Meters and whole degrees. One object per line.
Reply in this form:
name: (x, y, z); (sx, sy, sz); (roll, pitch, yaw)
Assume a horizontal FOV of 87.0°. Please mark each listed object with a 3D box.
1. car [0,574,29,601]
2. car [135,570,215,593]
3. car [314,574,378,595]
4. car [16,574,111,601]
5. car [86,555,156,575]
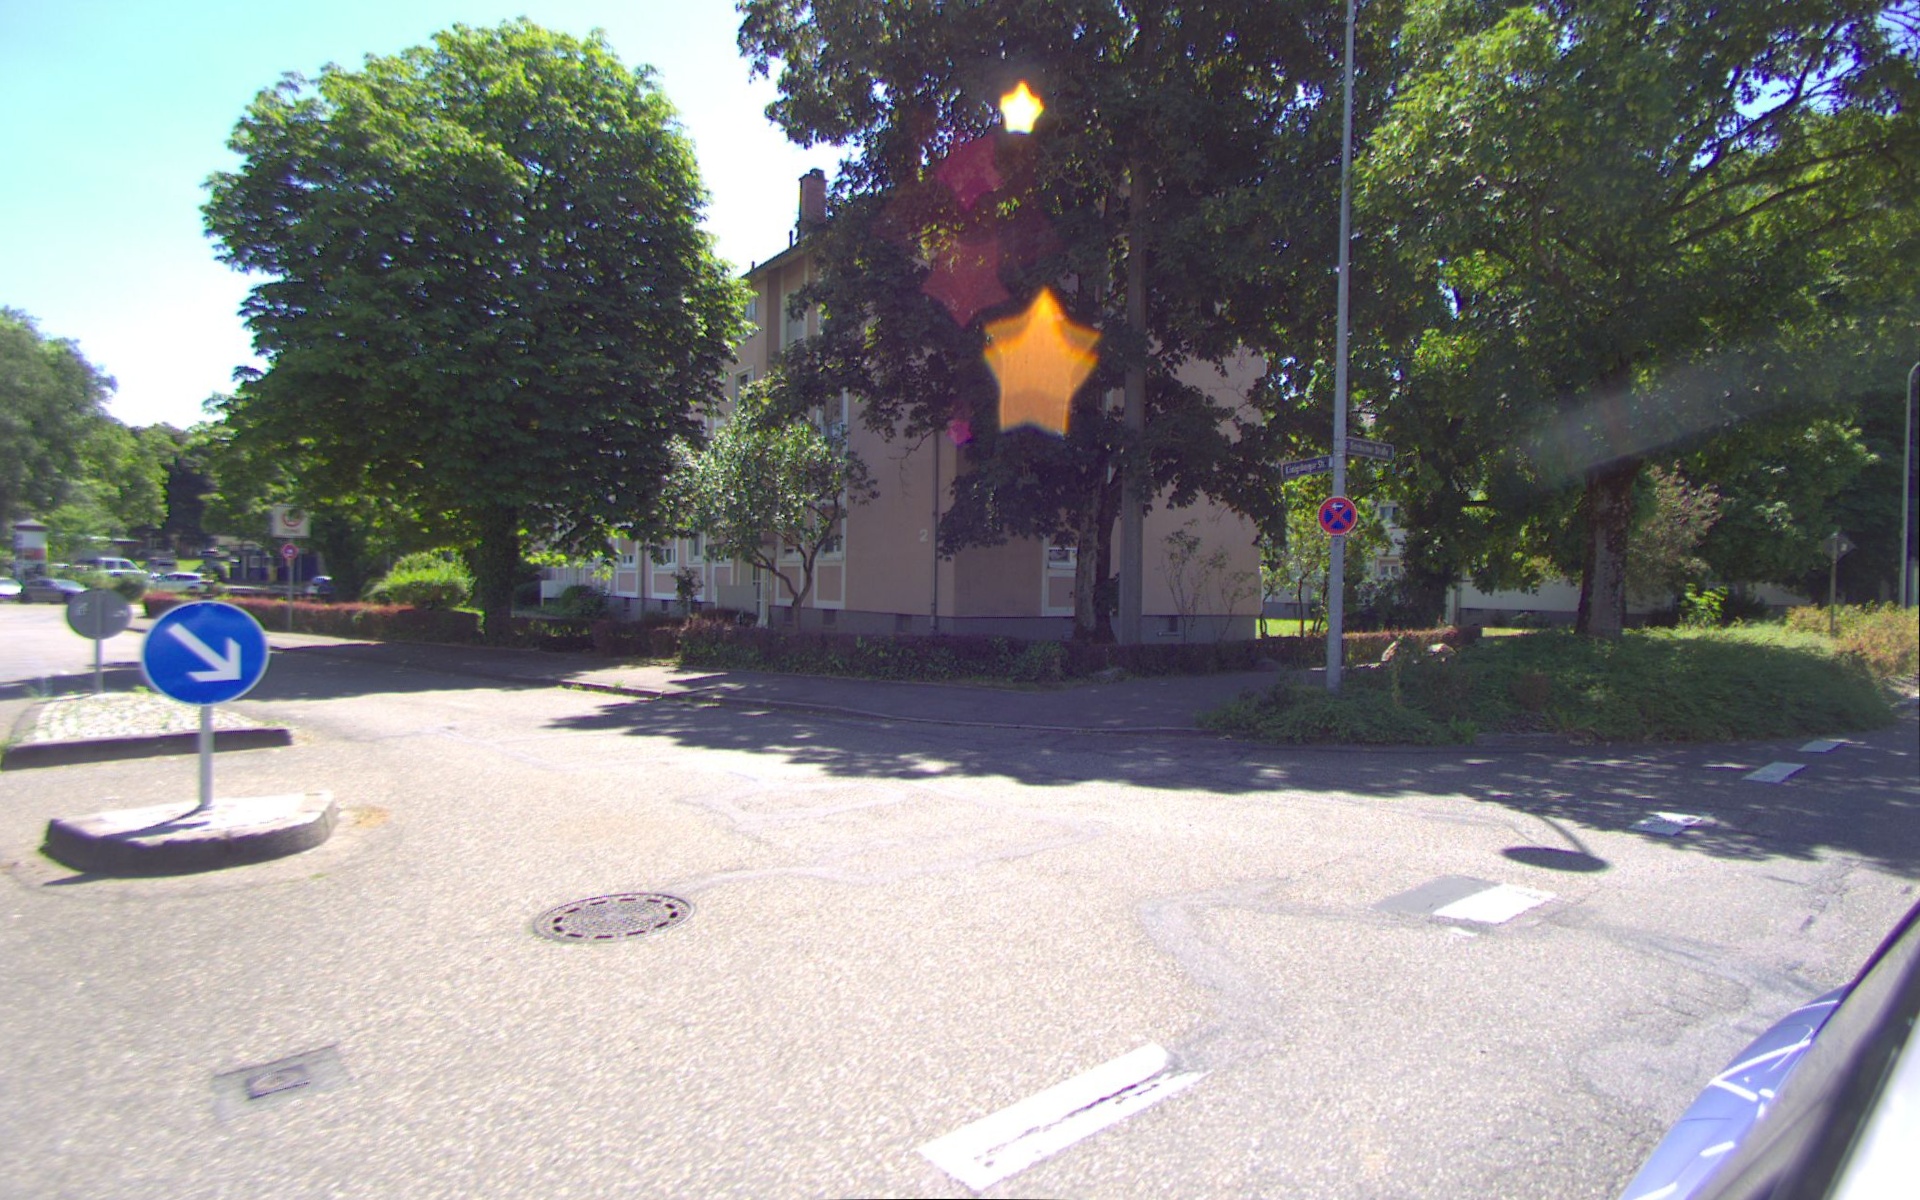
car: (-54.000, -0.727, 56.462); (3.811, 1.456, 1.696); (1, 1, 24)
car: (-51.114, -1.237, 65.945); (3.772, 1.456, 1.713); (0, 1, -20)
car: (-43.024, -1.081, 70.891); (3.778, 1.456, 1.710); (0, 1, -33)
car: (-49.336, -0.693, 55.726); (3.782, 1.456, 1.708); (1, 1, 3)
car: (-63.052, -2.650, 76.091); (3.775, 1.456, 1.712); (-1, 2, -29)
